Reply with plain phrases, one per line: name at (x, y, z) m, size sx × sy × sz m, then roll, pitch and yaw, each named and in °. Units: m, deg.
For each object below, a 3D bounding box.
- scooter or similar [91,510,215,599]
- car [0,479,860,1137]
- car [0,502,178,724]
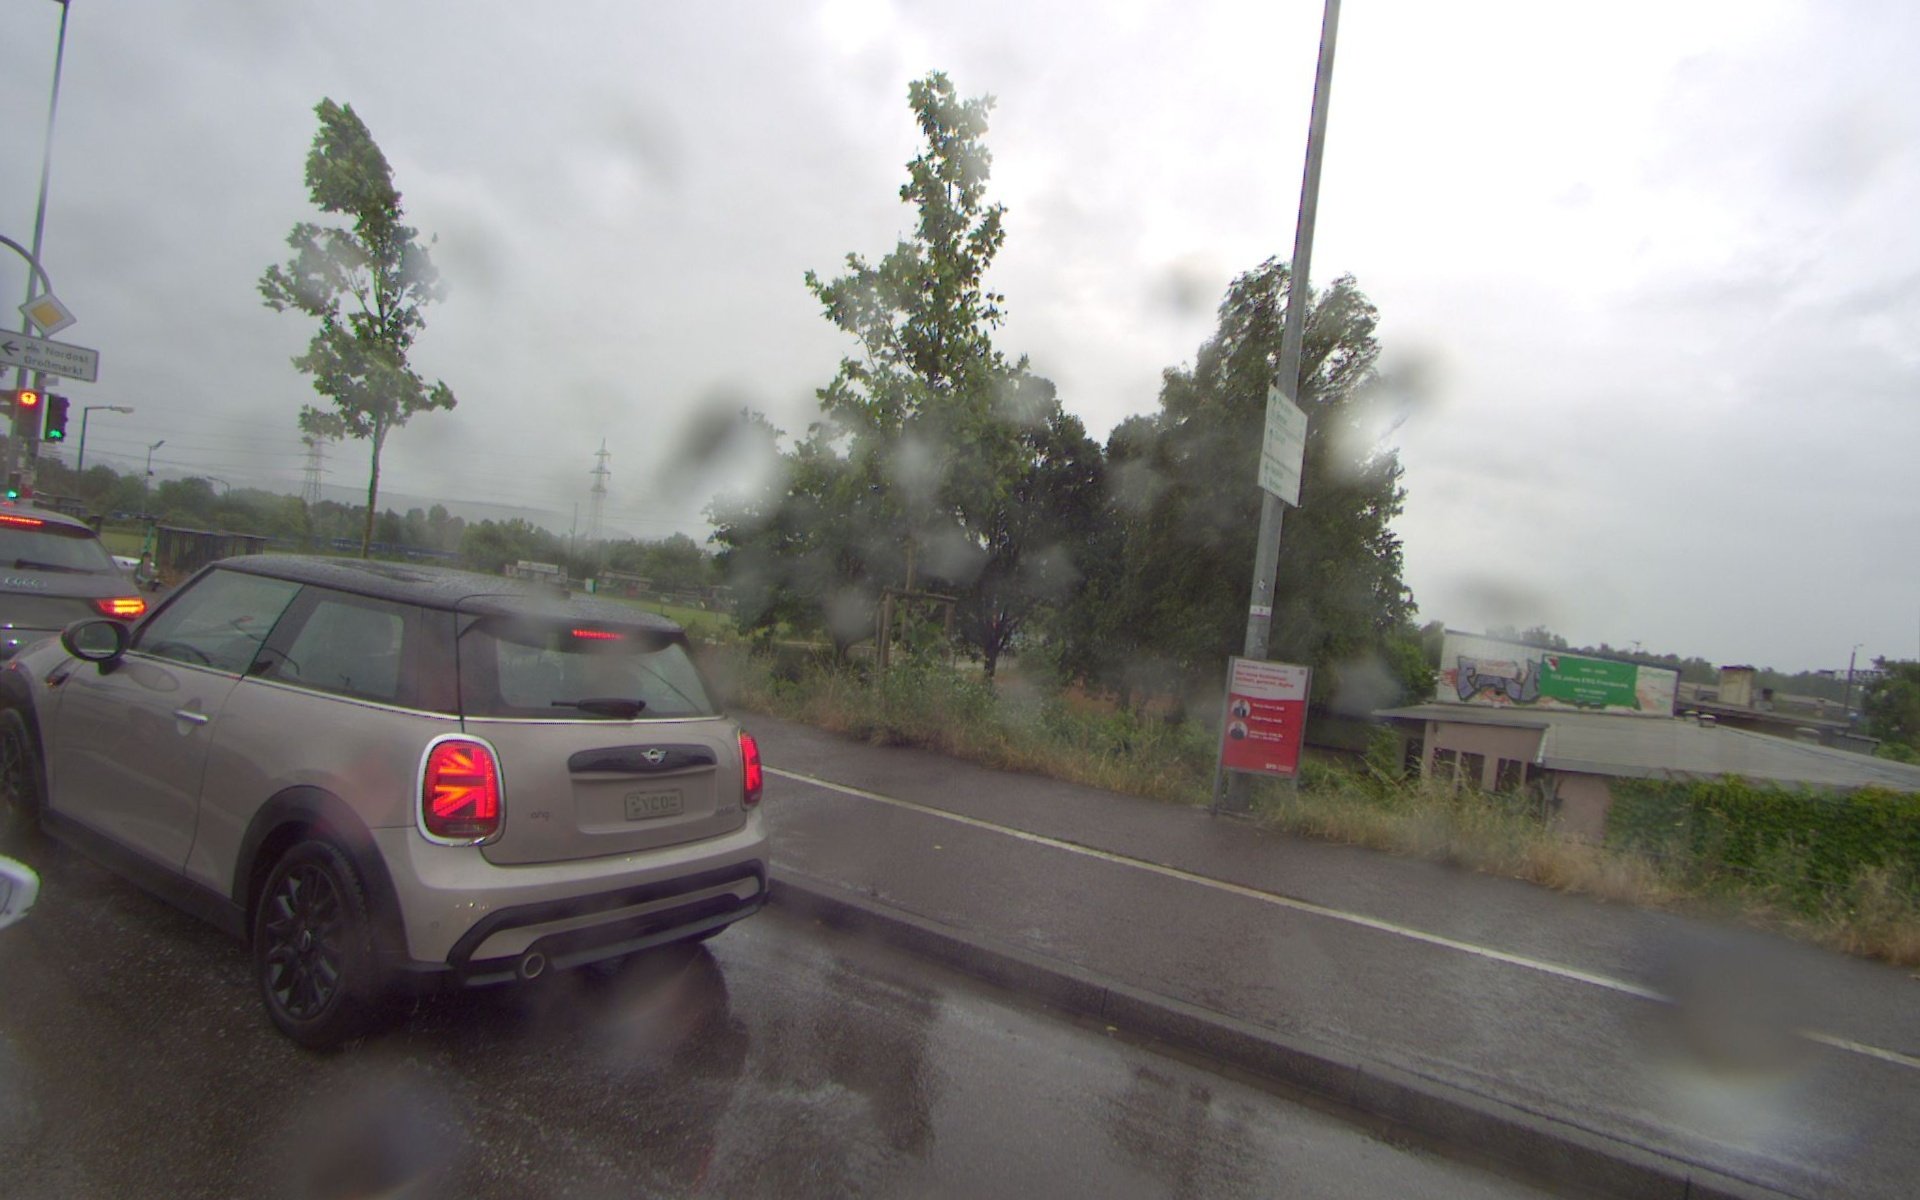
scooter or similar at (-13.873, -0.802, 17.251) m, size 2.971 × 1.226 × 0.691 m, roll 7°, pitch 0°, yaw 33°
car at (-2.543, 0.496, 4.240) m, size 3.815 × 1.524 × 1.707 m, roll 7°, pitch -4°, yaw 32°
car at (-7.479, -0.049, 7.245) m, size 3.569 × 1.383 × 1.600 m, roll 5°, pitch -1°, yaw 30°
